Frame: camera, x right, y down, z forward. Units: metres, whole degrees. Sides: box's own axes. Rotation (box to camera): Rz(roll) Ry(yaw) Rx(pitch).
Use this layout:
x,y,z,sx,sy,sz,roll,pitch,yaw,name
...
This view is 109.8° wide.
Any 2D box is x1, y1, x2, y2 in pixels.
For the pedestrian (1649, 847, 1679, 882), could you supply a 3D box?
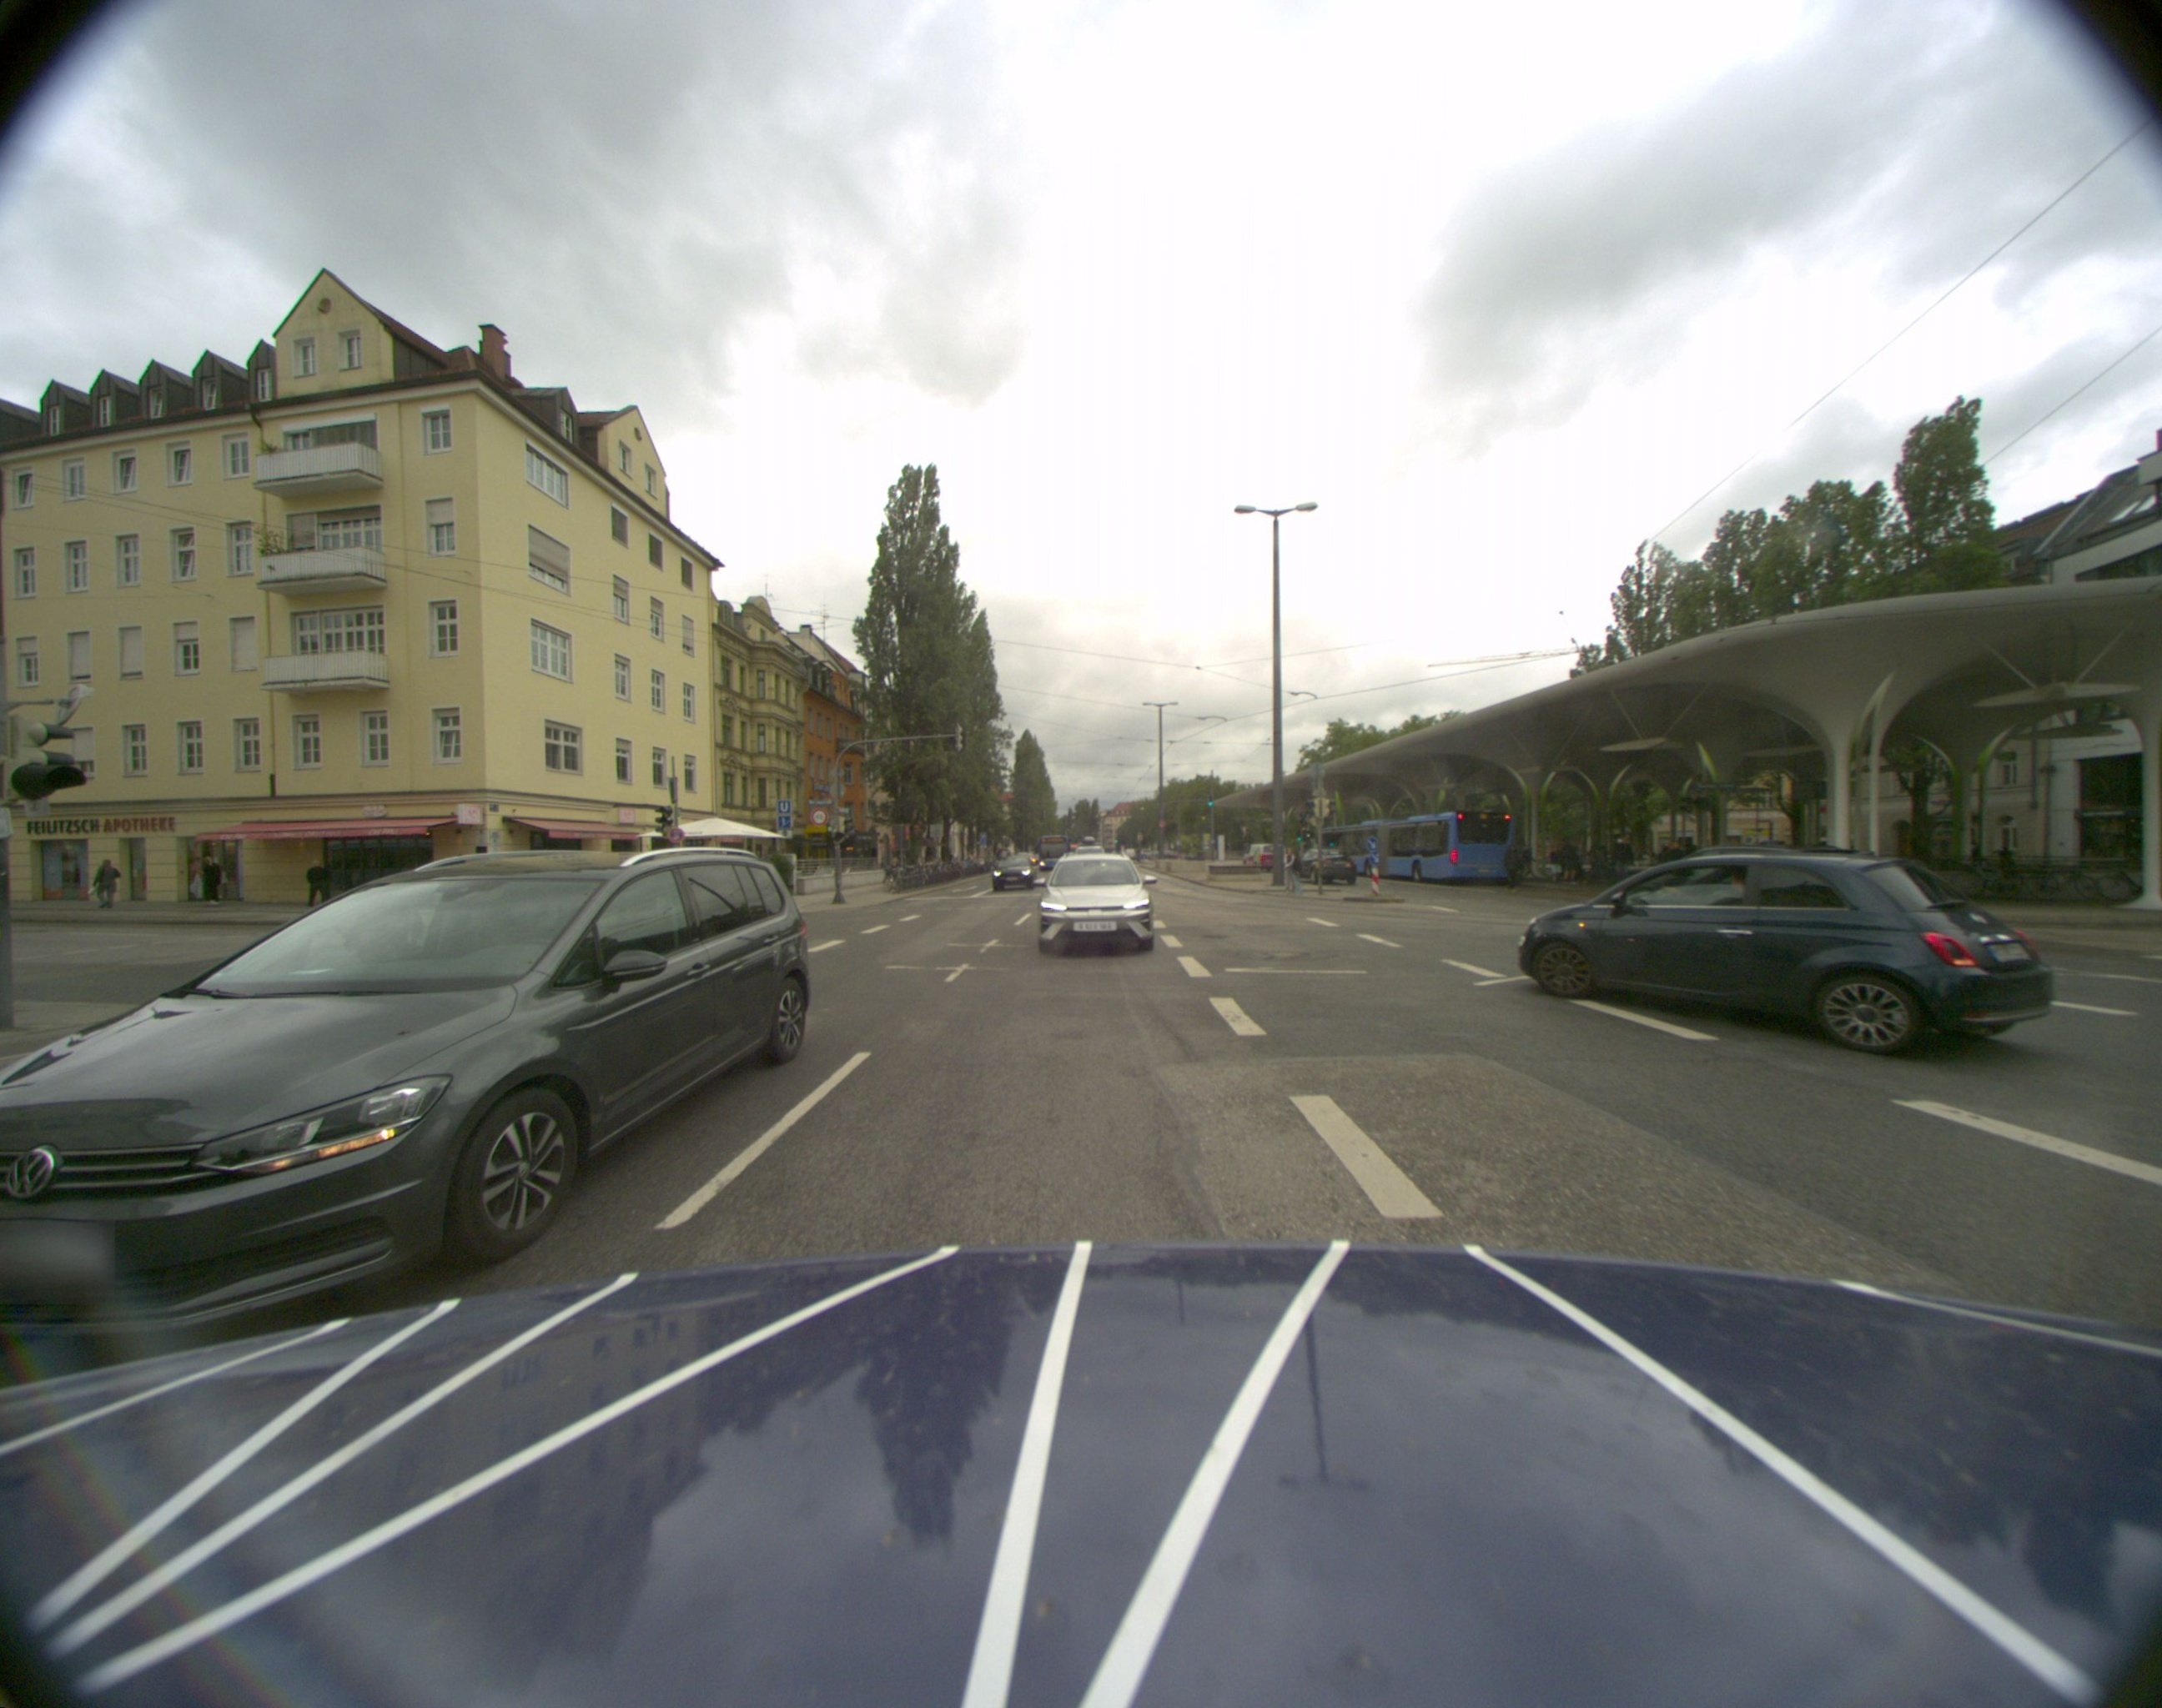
x,y,z,sx,sy,sz,roll,pitch,yaw,name
26.889,0.467,35.045,0.812,1.602,0.791,-1,1,7,pedestrian

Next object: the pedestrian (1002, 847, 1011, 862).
x,y,z,sx,sy,sz,roll,pitch,yaw,name
-8.192,0.069,83.714,0.758,1.628,0.699,-1,0,-42,pedestrian

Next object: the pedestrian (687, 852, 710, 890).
x,y,z,sx,sy,sz,roll,pitch,yaw,name
-16.639,0.716,33.041,0.616,1.623,0.677,-1,1,1,pedestrian

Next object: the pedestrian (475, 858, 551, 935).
x,y,z,sx,sy,sz,roll,pitch,yaw,name
-13.357,0.982,17.889,0.935,1.745,1.065,0,1,5,pedestrian

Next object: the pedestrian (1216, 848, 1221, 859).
x,y,z,sx,sy,sz,roll,pitch,yaw,name
19.947,-0.034,110.295,0.632,1.549,0.589,0,1,0,pedestrian

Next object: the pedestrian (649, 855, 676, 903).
x,y,z,sx,sy,sz,roll,pitch,yaw,name
-14.948,0.873,27.164,0.761,1.685,0.766,-1,1,-24,pedestrian

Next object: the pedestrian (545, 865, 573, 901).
x,y,z,sx,sy,sz,roll,pitch,yaw,name
-19.573,1.077,28.498,0.515,1.284,0.703,-1,1,-1,pedestrian

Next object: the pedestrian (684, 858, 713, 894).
x,y,z,sx,sy,sz,roll,pitch,yaw,name
-14.565,0.825,28.930,0.679,1.304,0.796,-1,1,1,pedestrian

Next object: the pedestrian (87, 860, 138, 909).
x,y,z,sx,sy,sz,roll,pitch,yaw,name
-32.774,1.016,25.715,0.759,1.633,0.768,0,1,11,pedestrian

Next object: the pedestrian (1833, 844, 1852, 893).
x,y,z,sx,sy,sz,roll,pitch,yaw,name
30.704,0.578,30.636,0.484,1.921,0.422,-1,1,-28,pedestrian

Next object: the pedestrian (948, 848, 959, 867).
x,y,z,sx,sy,sz,roll,pitch,yaw,name
-10.594,0.264,63.287,0.761,1.553,0.763,-1,0,2,pedestrian

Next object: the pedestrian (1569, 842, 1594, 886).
x,y,z,sx,sy,sz,roll,pitch,yaw,name
19.570,0.395,29.724,0.703,1.701,0.758,0,1,23,pedestrian

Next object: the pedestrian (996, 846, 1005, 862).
x,y,z,sx,sy,sz,roll,pitch,yaw,name
-8.843,0.009,83.050,0.699,1.770,0.652,-1,0,34,pedestrian

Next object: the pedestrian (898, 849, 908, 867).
x,y,z,sx,sy,sz,roll,pitch,yaw,name
-17.596,0.388,75.100,0.748,1.704,1.017,-1,1,1,pedestrian

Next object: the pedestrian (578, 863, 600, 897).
x,y,z,sx,sy,sz,roll,pitch,yaw,name
-19.071,0.997,29.436,0.479,1.291,0.527,-1,1,-1,pedestrian

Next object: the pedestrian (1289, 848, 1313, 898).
x,y,z,sx,sy,sz,roll,pitch,yaw,name
7.217,0.615,24.933,0.488,1.609,0.556,-1,1,-34,pedestrian

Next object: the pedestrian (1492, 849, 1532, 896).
x,y,z,sx,sy,sz,roll,pitch,yaw,name
15.581,0.661,27.480,0.974,1.671,0.839,-1,1,-24,pedestrian

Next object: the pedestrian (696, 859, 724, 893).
x,y,z,sx,sy,sz,roll,pitch,yaw,name
-14.545,0.841,29.820,0.679,1.304,0.796,-1,1,1,pedestrian

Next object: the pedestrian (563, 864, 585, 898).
x,y,z,sx,sy,sz,roll,pitch,yaw,name
-19.602,1.029,29.384,0.479,1.291,0.527,-1,1,-1,pedestrian

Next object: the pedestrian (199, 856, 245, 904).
x,y,z,sx,sy,sz,roll,pitch,yaw,name
-30.532,0.904,27.014,0.852,1.673,0.705,0,1,11,pedestrian

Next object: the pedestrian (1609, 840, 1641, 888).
x,y,z,sx,sy,sz,roll,pitch,yaw,name
20.748,0.371,28.985,0.805,1.806,0.706,0,1,16,pedestrian

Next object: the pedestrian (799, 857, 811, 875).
x,y,z,sx,sy,sz,roll,pitch,yaw,name
-19.343,0.832,53.234,0.584,1.273,0.583,-1,1,0,pedestrian

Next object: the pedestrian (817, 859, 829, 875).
x,y,z,sx,sy,sz,roll,pitch,yaw,name
-19.364,0.987,57.039,0.624,1.211,0.583,-1,1,0,pedestrian

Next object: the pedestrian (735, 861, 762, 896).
x,y,z,sx,sy,sz,roll,pitch,yaw,name
-12.984,0.942,29.689,0.679,1.303,0.796,-1,1,1,pedestrian

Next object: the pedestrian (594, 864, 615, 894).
x,y,z,sx,sy,sz,roll,pitch,yaw,name
-19.098,0.993,30.438,0.479,1.159,0.527,-1,1,-1,pedestrian

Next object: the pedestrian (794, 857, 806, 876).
x,y,z,sx,sy,sz,roll,pitch,yaw,name
-19.372,0.838,52.395,0.584,1.273,0.583,-1,1,0,pedestrian

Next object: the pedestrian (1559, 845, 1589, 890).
x,y,z,sx,sy,sz,roll,pitch,yaw,name
18.870,0.499,29.074,0.632,1.665,0.747,-1,1,-27,pedestrian

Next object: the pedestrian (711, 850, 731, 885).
x,y,z,sx,sy,sz,roll,pitch,yaw,name
-17.811,0.656,37.582,0.602,1.729,0.666,-1,1,1,pedestrian

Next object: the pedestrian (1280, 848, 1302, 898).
x,y,z,sx,sy,sz,roll,pitch,yaw,name
6.979,0.624,25.267,0.520,1.609,0.465,0,1,44,pedestrian

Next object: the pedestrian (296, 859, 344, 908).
x,y,z,sx,sy,sz,roll,pitch,yaw,name
-24.868,0.953,24.839,0.760,1.576,0.768,0,1,5,pedestrian

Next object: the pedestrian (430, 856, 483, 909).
x,y,z,sx,sy,sz,roll,pitch,yaw,name
-20.421,0.919,24.859,1.038,1.673,0.839,0,1,11,pedestrian

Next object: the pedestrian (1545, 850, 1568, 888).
x,y,z,sx,sy,sz,roll,pitch,yaw,name
18.767,0.588,30.018,0.614,1.496,0.471,-1,1,-1,pedestrian

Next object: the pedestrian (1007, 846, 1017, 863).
x,y,z,sx,sy,sz,roll,pitch,yaw,name
-7.736,0.051,84.779,0.881,1.791,0.757,-1,0,11,pedestrian

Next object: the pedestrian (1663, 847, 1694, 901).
x,y,z,sx,sy,sz,roll,pitch,yaw,name
19.140,0.635,24.358,0.548,1.710,0.615,0,1,8,pedestrian

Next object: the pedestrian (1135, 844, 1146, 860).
x,y,z,sx,sy,sz,roll,pitch,yaw,name
6.718,-0.194,86.466,0.862,1.801,0.895,-2,2,-26,pedestrian

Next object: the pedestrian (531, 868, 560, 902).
x,y,z,sx,sy,sz,roll,pitch,yaw,name
-19.475,1.120,27.644,0.515,1.175,0.703,-1,1,-1,pedestrian

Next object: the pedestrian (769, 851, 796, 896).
x,y,z,sx,sy,sz,roll,pitch,yaw,name
-11.754,0.738,29.989,0.884,1.733,0.857,-1,1,-16,pedestrian

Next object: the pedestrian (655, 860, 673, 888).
x,y,z,sx,sy,sz,roll,pitch,yaw,name
-19.602,0.951,35.711,0.542,1.282,0.552,-1,1,1,pedestrian

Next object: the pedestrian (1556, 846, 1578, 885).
x,y,z,sx,sy,sz,roll,pitch,yaw,name
19.500,0.456,30.491,0.564,1.563,0.533,0,1,1,pedestrian

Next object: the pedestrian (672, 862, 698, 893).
x,y,z,sx,sy,sz,roll,pitch,yaw,name
-15.522,0.922,29.797,0.627,1.196,0.700,-1,1,1,pedestrian

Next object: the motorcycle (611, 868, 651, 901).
x,y,z,sx,sy,sz,roll,pitch,yaw,name
-16.741,1.105,28.300,0.487,1.150,1.571,-1,1,1,motorcycle

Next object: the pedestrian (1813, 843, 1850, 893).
x,y,z,sx,sy,sz,roll,pitch,yaw,name
24.231,0.445,24.538,0.597,1.601,0.624,0,1,5,pedestrian
